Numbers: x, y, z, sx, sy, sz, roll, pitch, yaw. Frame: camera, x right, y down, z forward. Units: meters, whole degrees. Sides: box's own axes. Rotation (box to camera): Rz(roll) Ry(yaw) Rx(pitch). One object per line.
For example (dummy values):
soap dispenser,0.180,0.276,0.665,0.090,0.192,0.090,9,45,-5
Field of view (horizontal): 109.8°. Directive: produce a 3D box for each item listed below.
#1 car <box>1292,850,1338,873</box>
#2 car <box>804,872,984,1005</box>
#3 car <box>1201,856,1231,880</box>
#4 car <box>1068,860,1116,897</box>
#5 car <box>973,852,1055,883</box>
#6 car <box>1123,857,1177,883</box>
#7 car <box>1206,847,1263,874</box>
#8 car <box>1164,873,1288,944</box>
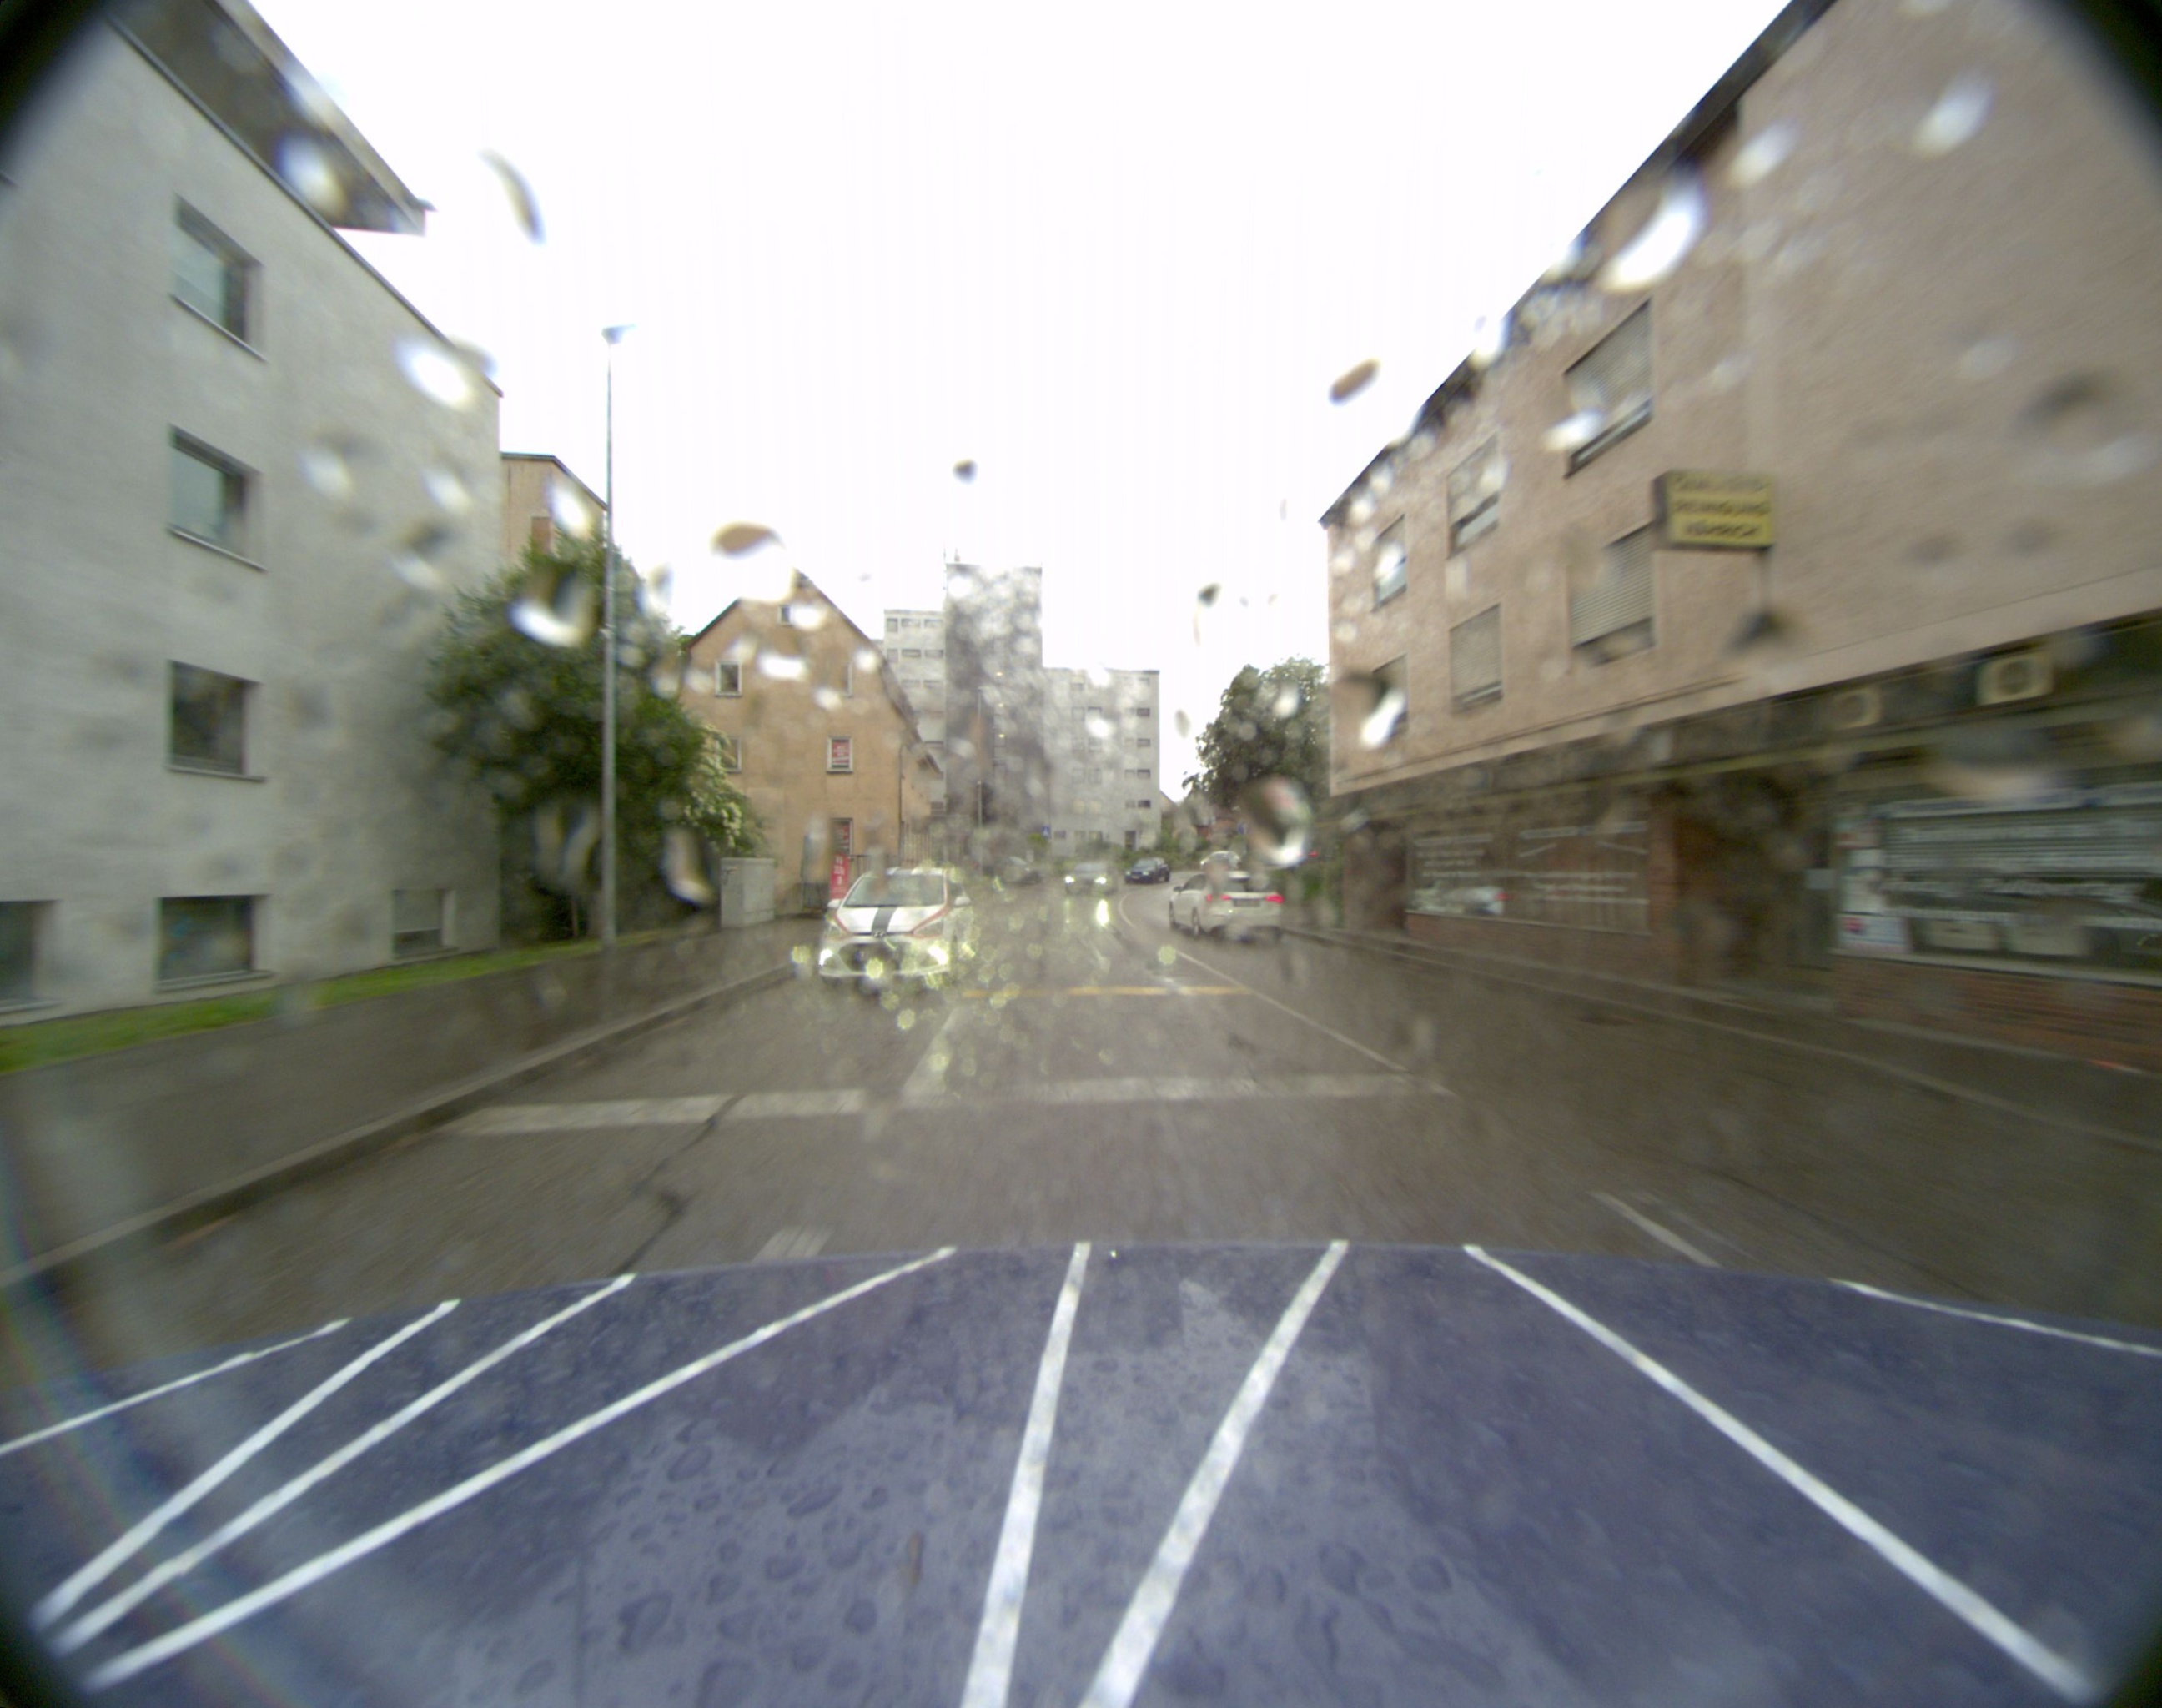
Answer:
car,18.663,0.552,60.544,1.893,1.587,4.364,4,4,41
car,-2.450,1.043,10.854,1.711,1.444,3.762,0,0,-1
car,8.533,0.827,47.761,1.773,1.394,3.922,1,0,11
car,0.582,1.067,34.819,1.837,1.505,4.849,-1,0,5
car,-3.913,0.741,44.333,4.408,1.564,1.721,2,3,22
car,4.217,0.936,45.687,1.787,1.339,4.952,-2,0,22
car,11.858,0.552,58.576,1.896,1.648,4.958,-1,-5,44
car,3.043,1.114,16.799,1.695,1.364,4.112,1,-1,-4
